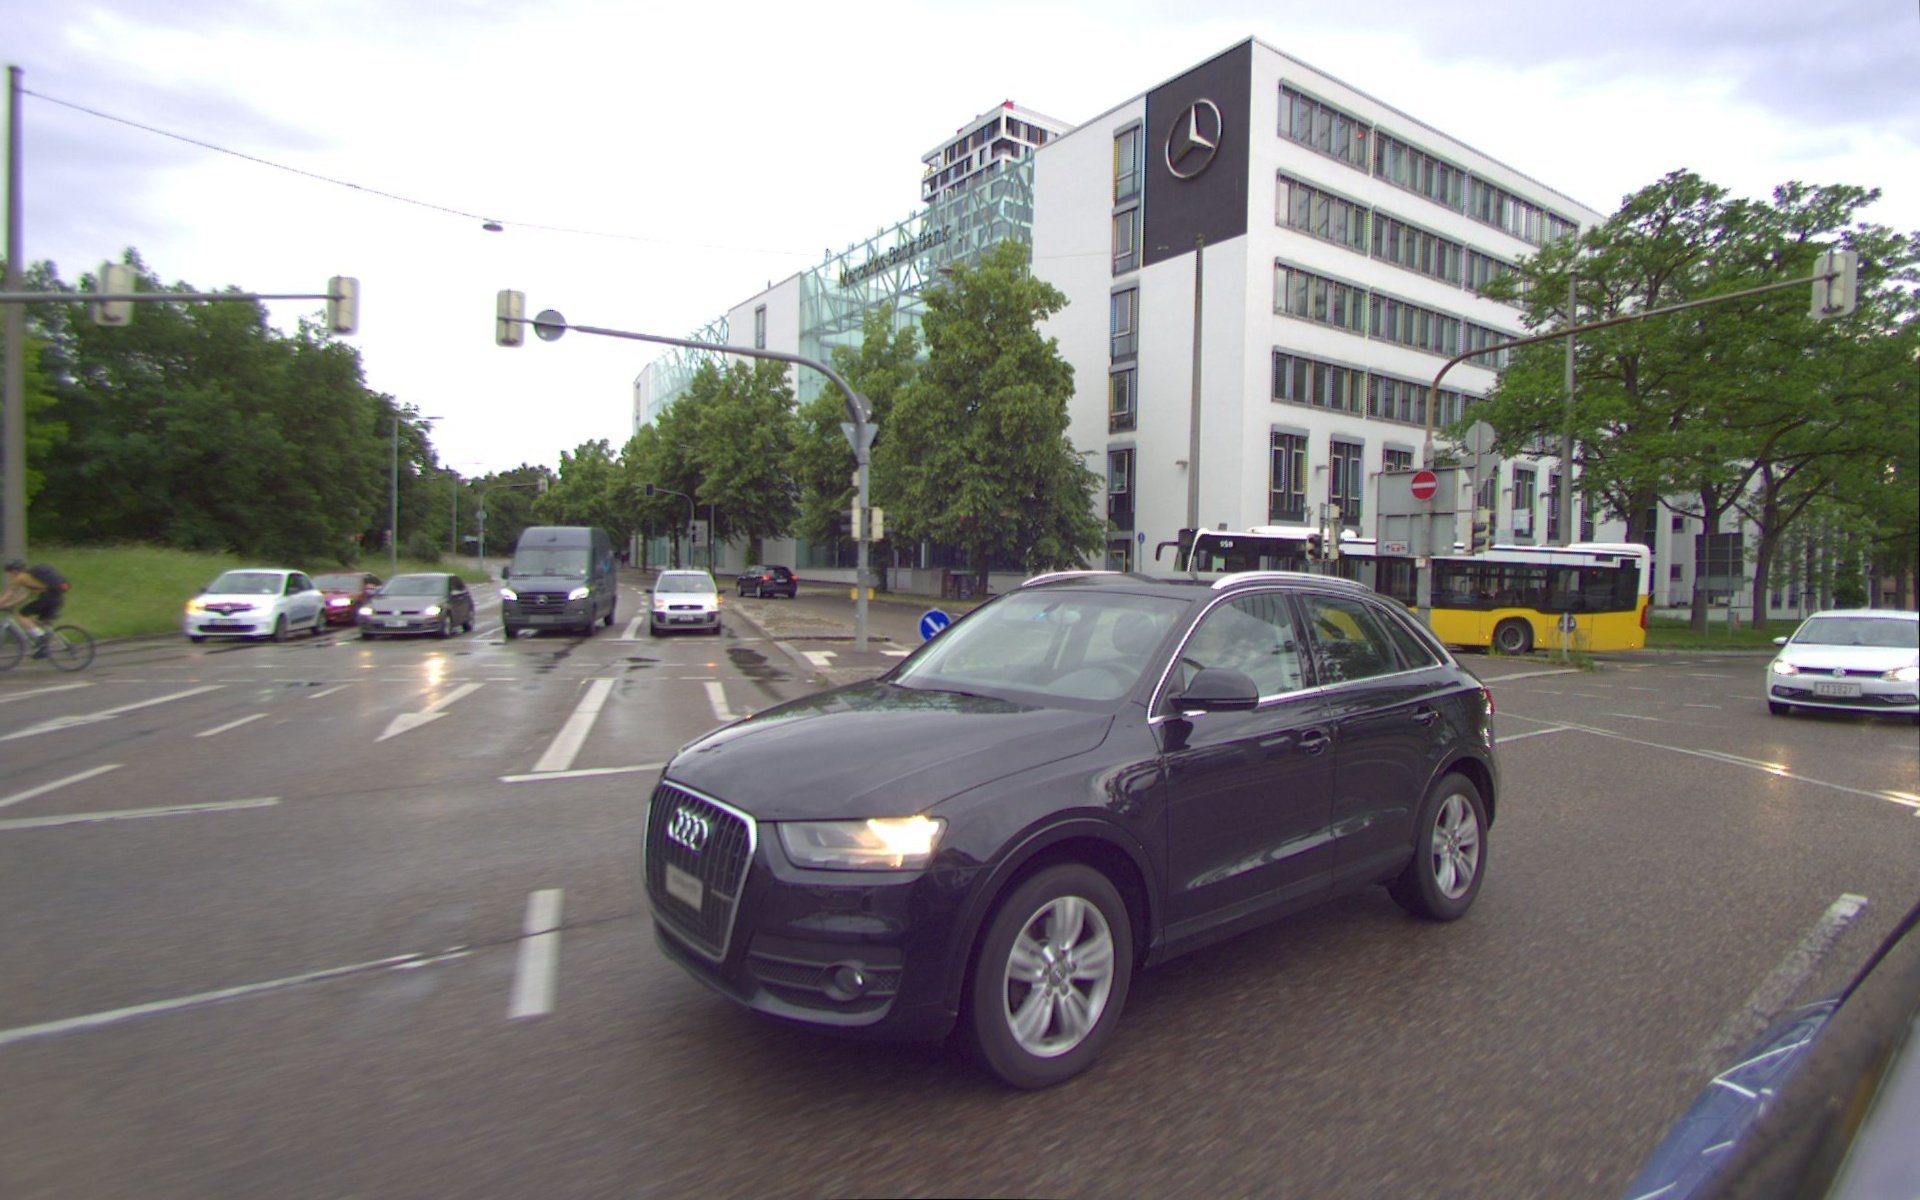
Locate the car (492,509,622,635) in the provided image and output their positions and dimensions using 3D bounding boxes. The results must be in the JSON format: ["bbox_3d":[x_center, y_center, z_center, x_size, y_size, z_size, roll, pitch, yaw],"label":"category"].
[{"bbox_3d":[-9.896,-0.689,25.340,2.038,2.775,6.042,-1,1,-12],"label":"car"}]

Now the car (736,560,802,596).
[{"bbox_3d":[-8.926,-1.067,46.975,1.833,1.515,4.159,-1,4,-29],"label":"car"}]

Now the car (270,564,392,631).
[{"bbox_3d":[-17.284,-0.110,28.058,1.832,1.695,4.575,0,1,-18],"label":"car"}]

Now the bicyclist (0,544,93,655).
[{"bbox_3d":[-13.722,-0.008,15.049,1.001,1.604,0.813,0,0,-12],"label":"bicyclist"}]

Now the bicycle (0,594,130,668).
[{"bbox_3d":[-13.855,0.451,15.000,2.280,1.035,0.813,0,2,-11],"label":"bicycle"}]

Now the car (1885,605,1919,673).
[{"bbox_3d":[22.098,0.828,22.367,4.255,1.371,1.877,-1,0,-40],"label":"car"}]

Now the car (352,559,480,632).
[{"bbox_3d":[-12.619,-0.134,23.739,1.693,1.539,4.391,0,1,-15],"label":"car"}]

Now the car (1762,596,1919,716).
[{"bbox_3d":[12.602,0.671,13.934,3.744,1.450,1.744,0,0,-40],"label":"car"}]

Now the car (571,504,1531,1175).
[{"bbox_3d":[0.656,0.564,4.454,4.039,1.615,1.889,0,1,-39],"label":"car"}]

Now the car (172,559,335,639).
[{"bbox_3d":[-15.537,-0.059,22.526,1.832,1.583,4.153,0,1,-18],"label":"car"}]

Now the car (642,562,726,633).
[{"bbox_3d":[-6.863,-0.134,25.219,1.832,1.588,4.071,-1,2,-15],"label":"car"}]

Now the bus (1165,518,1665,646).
[{"bbox_3d":[11.723,-0.470,27.025,11.923,3.192,2.733,0,-1,3],"label":"bus"}]
